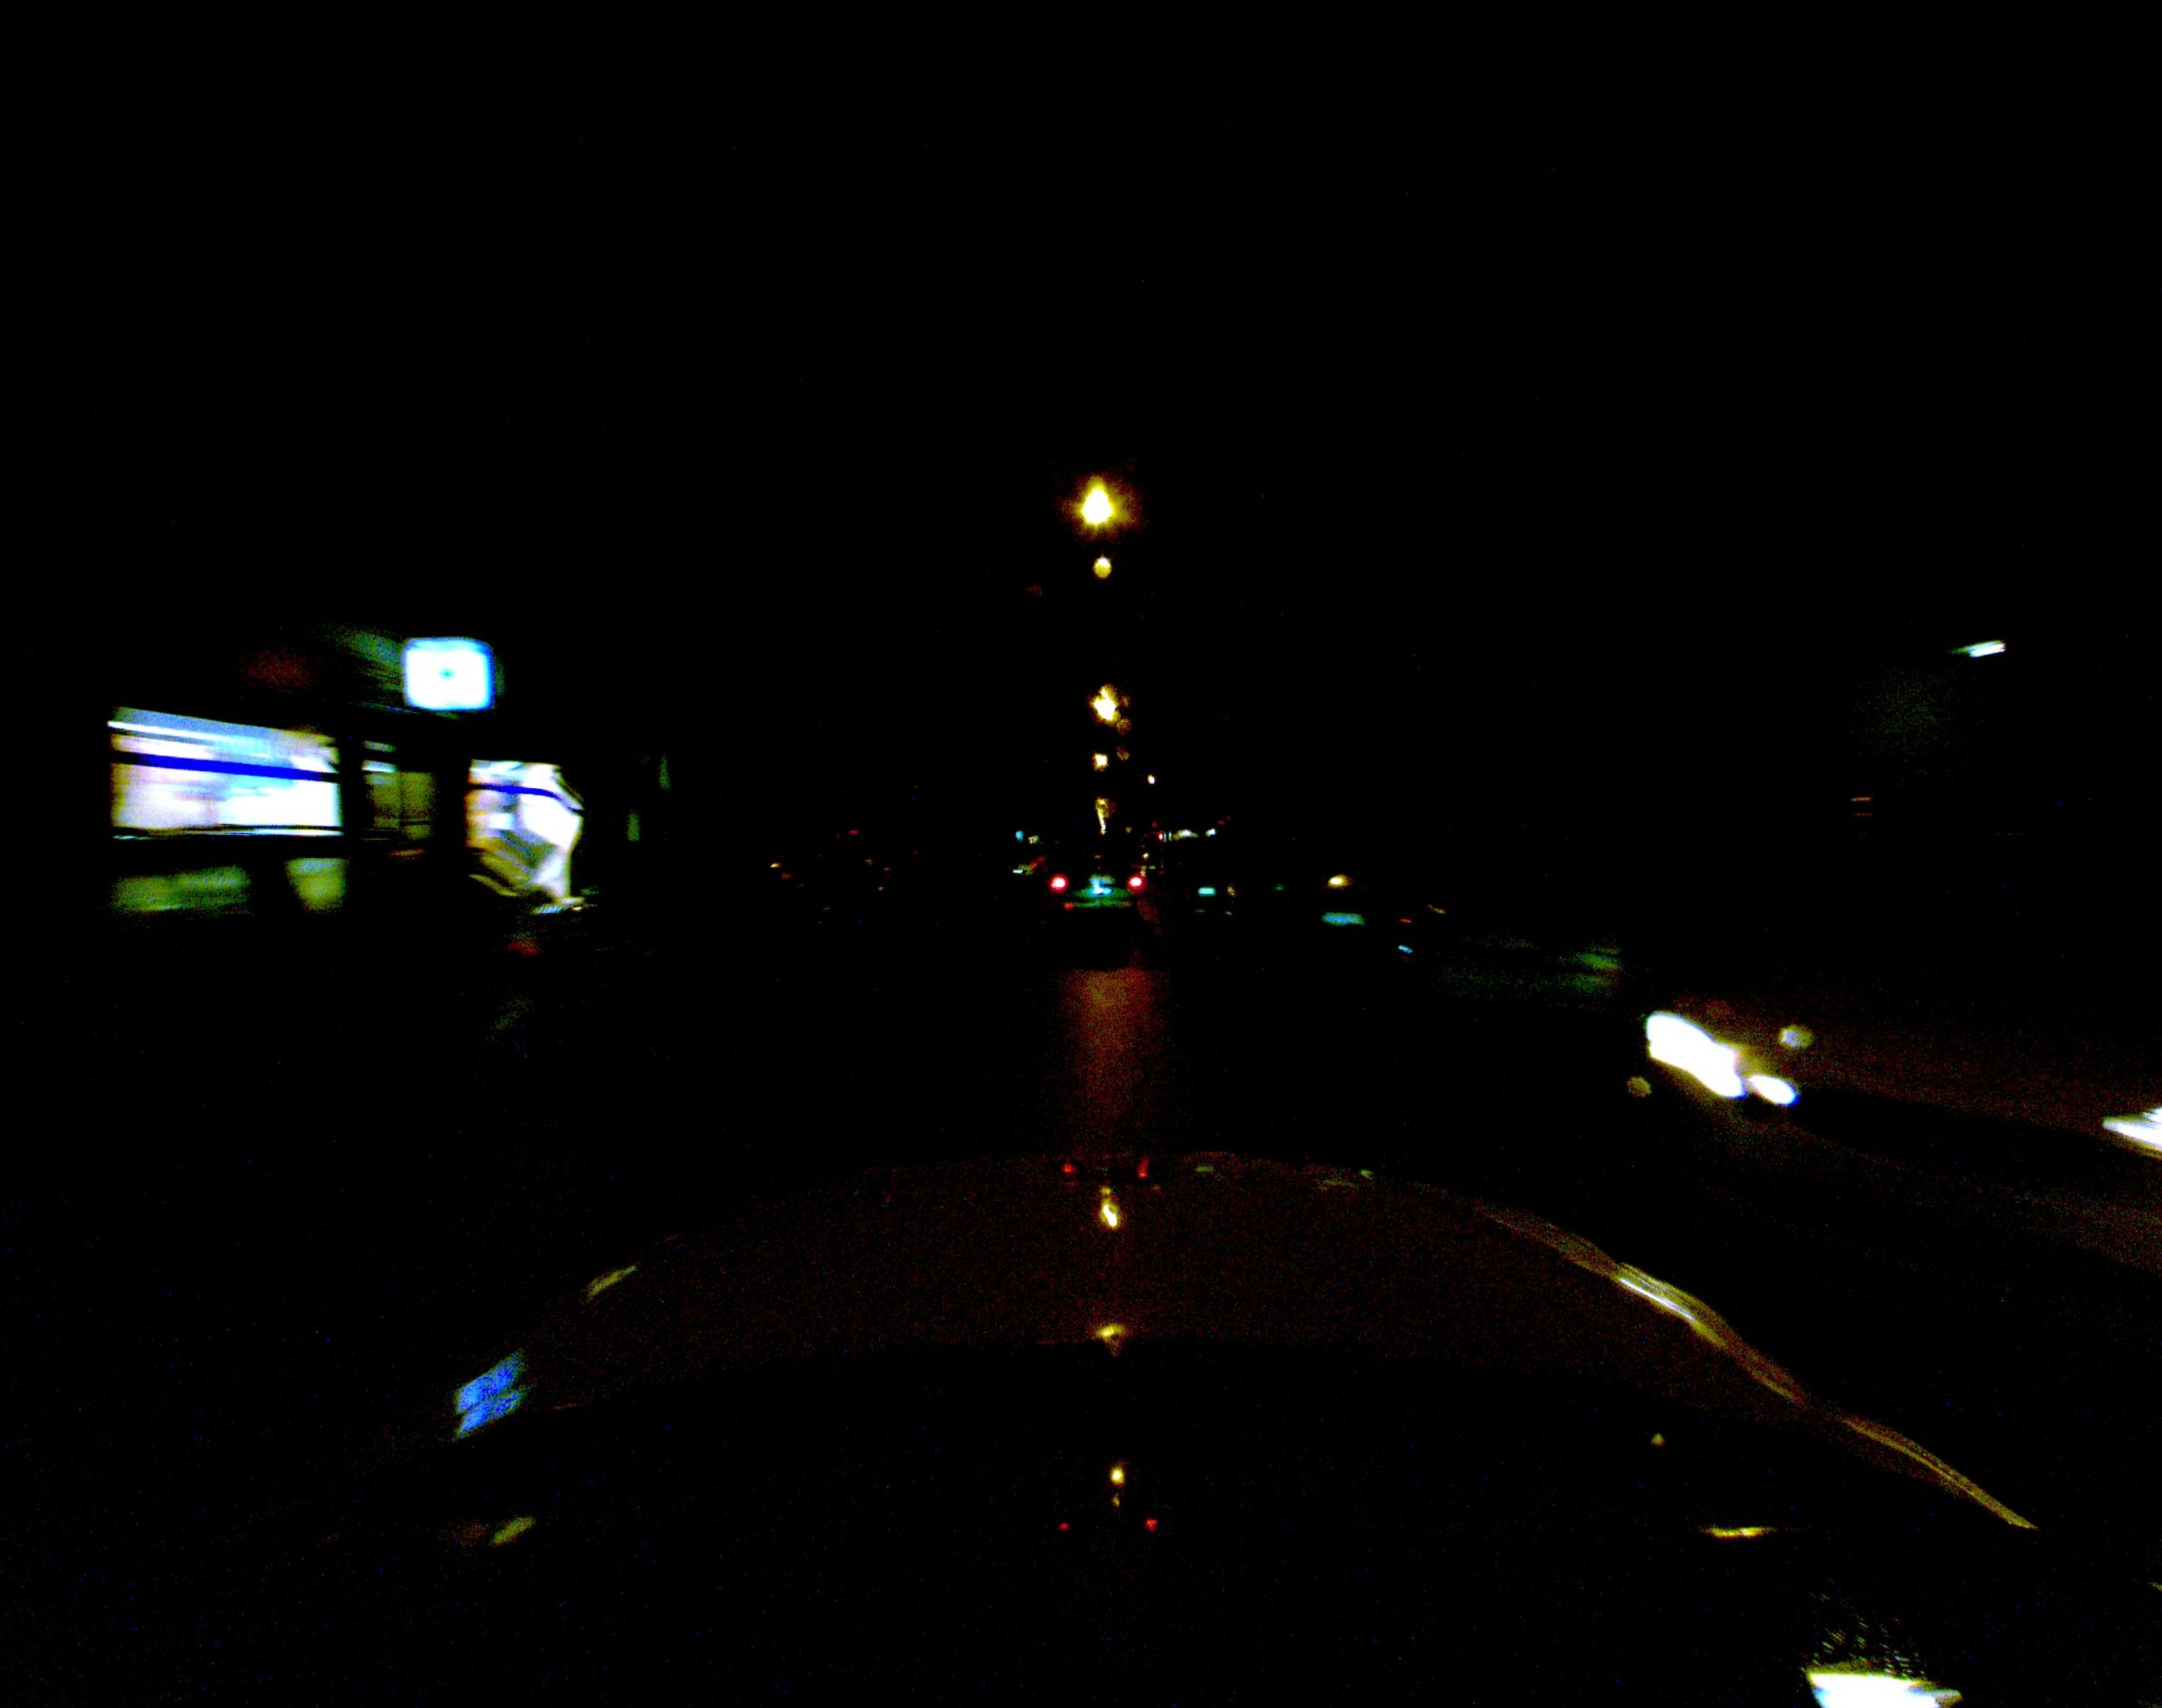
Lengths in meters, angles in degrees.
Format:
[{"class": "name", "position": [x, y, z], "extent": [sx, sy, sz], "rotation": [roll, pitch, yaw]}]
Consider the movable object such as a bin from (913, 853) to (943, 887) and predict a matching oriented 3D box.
[{"class": "movable object such as a bin", "position": [-6.551, 0.662, 34.925], "extent": [0.970, 1.419, 1.134], "rotation": [0, 0, 4]}]

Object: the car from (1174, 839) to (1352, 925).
[{"class": "car", "position": [3.837, 0.533, 16.883], "extent": [3.703, 1.460, 1.585], "rotation": [-4, 0, -39]}]

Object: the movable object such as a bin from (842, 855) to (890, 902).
[{"class": "movable object such as a bin", "position": [-6.758, 0.756, 25.682], "extent": [1.136, 1.419, 1.155], "rotation": [0, 0, 4]}]

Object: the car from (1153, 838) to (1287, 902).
[{"class": "car", "position": [3.890, 0.406, 22.621], "extent": [3.671, 1.580, 1.574], "rotation": [-2, 0, -38]}]

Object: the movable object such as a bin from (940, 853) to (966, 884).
[{"class": "movable object such as a bin", "position": [-6.042, 0.674, 38.358], "extent": [0.970, 1.398, 1.134], "rotation": [0, 0, 4]}]

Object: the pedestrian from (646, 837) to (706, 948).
[{"class": "pedestrian", "position": [-6.719, 0.626, 13.528], "extent": [0.637, 1.781, 0.549], "rotation": [-2, 0, 2]}]

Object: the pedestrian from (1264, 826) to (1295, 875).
[{"class": "pedestrian", "position": [7.921, -0.142, 32.515], "extent": [0.866, 1.855, 0.993], "rotation": [-4, 0, -1]}]

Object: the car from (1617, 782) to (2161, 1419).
[{"class": "car", "position": [3.994, 0.524, 3.220], "extent": [3.663, 1.542, 1.545], "rotation": [-3, 0, -29]}]

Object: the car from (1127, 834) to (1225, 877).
[{"class": "car", "position": [5.001, 0.045, 42.881], "extent": [4.814, 2.048, 2.047], "rotation": [-2, 1, -29]}]

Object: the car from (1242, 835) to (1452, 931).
[{"class": "car", "position": [5.060, 0.476, 15.262], "extent": [4.019, 1.452, 1.669], "rotation": [-3, 0, -37]}]

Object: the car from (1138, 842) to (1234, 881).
[{"class": "car", "position": [4.785, 0.339, 37.079], "extent": [4.007, 1.492, 1.720], "rotation": [-4, 0, -25]}]

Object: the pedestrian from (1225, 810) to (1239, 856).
[{"class": "pedestrian", "position": [11.548, -1.600, 62.169], "extent": [0.888, 3.527, 0.791], "rotation": [-1, 0, 1]}]

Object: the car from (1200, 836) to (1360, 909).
[{"class": "car", "position": [4.928, 0.413, 20.102], "extent": [3.662, 1.580, 1.578], "rotation": [-2, 0, -27]}]

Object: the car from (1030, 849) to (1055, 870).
[{"class": "car", "position": [-2.979, 0.406, 63.762], "extent": [1.808, 1.557, 4.073], "rotation": [-1, 0, -2]}]

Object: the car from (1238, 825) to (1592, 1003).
[{"class": "car", "position": [3.939, 0.543, 9.403], "extent": [4.016, 1.552, 1.785], "rotation": [-3, 0, -34]}]

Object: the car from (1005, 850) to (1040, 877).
[{"class": "car", "position": [-3.403, 0.554, 48.128], "extent": [1.581, 1.482, 3.796], "rotation": [-1, 0, 3]}]

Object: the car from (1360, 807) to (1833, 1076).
[{"class": "car", "position": [4.430, 0.483, 6.820], "extent": [4.018, 1.552, 1.978], "rotation": [-3, 0, -36]}]

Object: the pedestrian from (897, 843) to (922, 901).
[{"class": "pedestrian", "position": [-5.494, 0.577, 26.160], "extent": [0.589, 1.820, 0.795], "rotation": [1, 0, 1]}]

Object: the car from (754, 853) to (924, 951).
[{"class": "car", "position": [-4.181, 0.745, 14.825], "extent": [1.680, 1.455, 4.317], "rotation": [-1, 1, 1]}]

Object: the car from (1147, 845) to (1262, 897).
[{"class": "car", "position": [4.086, 0.526, 26.818], "extent": [3.668, 1.580, 1.575], "rotation": [-1, 0, -35]}]

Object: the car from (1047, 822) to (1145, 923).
[{"class": "car", "position": [0.375, 0.403, 19.103], "extent": [1.986, 2.050, 4.001], "rotation": [-2, 0, 2]}]

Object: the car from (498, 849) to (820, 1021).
[{"class": "car", "position": [-4.572, 0.746, 9.590], "extent": [1.597, 1.552, 4.026], "rotation": [-1, 1, 1]}]

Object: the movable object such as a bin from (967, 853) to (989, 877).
[{"class": "movable object such as a bin", "position": [-6.023, 0.637, 47.706], "extent": [1.043, 1.398, 1.159], "rotation": [0, 0, 4]}]

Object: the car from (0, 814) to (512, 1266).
[{"class": "car", "position": [-4.879, 0.717, 3.889], "extent": [1.598, 1.706, 3.722], "rotation": [-1, 0, 1]}]

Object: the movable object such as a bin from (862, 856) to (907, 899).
[{"class": "movable object such as a bin", "position": [-6.629, 0.770, 27.485], "extent": [1.136, 1.419, 1.249], "rotation": [0, 0, 4]}]
